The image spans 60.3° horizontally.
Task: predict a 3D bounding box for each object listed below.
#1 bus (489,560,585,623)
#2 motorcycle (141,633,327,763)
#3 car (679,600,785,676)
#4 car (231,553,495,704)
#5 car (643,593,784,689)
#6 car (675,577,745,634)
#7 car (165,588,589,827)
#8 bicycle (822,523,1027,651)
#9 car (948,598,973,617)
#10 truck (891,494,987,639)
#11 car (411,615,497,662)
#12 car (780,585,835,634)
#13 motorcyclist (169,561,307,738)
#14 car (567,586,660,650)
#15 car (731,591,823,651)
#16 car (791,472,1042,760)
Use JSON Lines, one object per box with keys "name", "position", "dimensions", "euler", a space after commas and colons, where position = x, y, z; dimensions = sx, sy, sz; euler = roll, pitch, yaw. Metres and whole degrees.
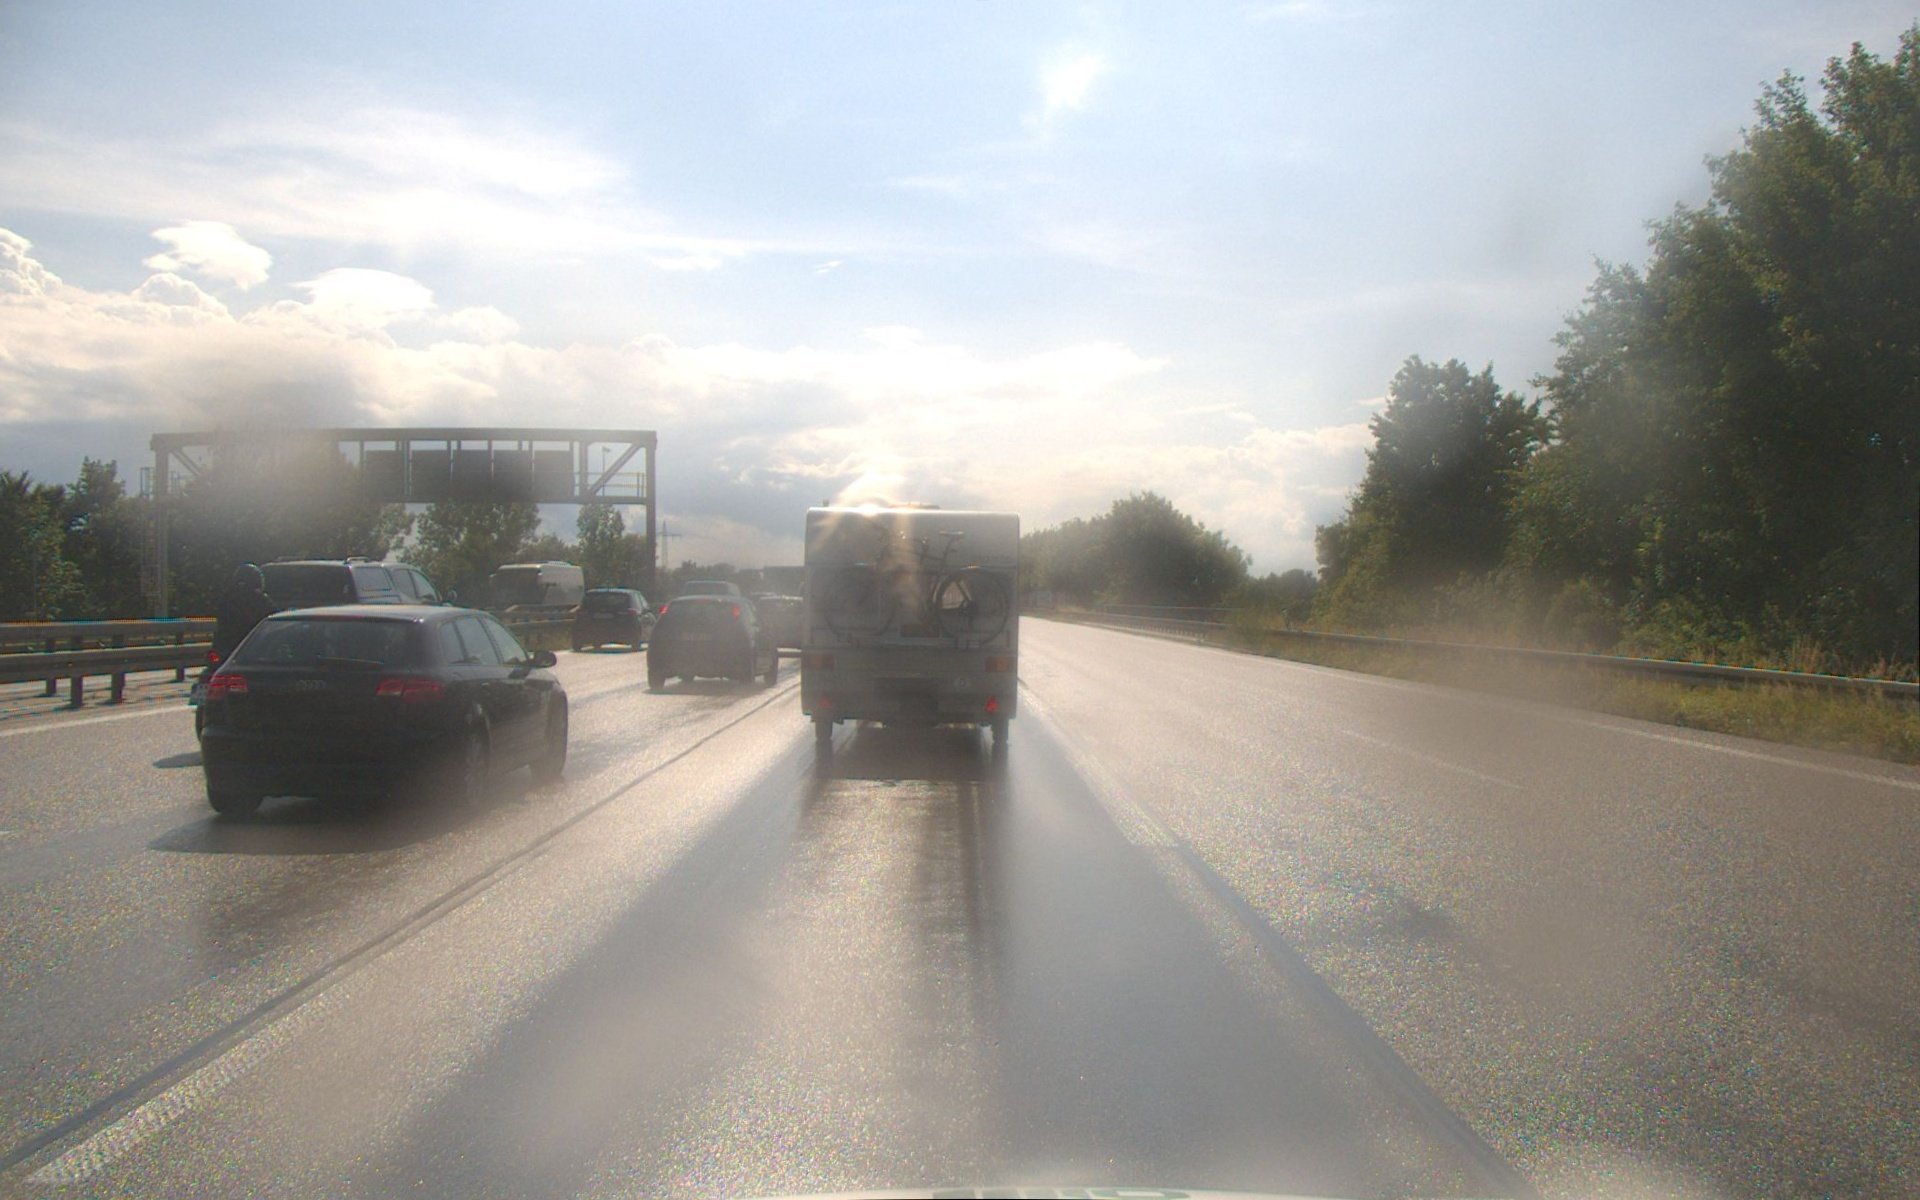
{"name": "bus", "position": [-24.010, -0.482, 94.606], "dimensions": [2.880, 3.343, 12.205], "euler": [1, 0, -3]}
{"name": "motorcycle", "position": [-6.620, 0.854, 15.239], "dimensions": [0.676, 1.045, 2.388], "euler": [1, 0, -1]}
{"name": "car", "position": [-4.849, 0.776, 35.659], "dimensions": [1.825, 1.534, 3.999], "euler": [1, 0, -2]}
{"name": "car", "position": [-8.306, 0.352, 23.609], "dimensions": [1.769, 1.876, 5.418], "euler": [1, 0, 0]}
{"name": "car", "position": [-4.011, 0.623, 27.496], "dimensions": [1.722, 1.468, 4.000], "euler": [1, 0, 0]}
{"name": "car", "position": [-8.943, 0.178, 59.566], "dimensions": [1.810, 1.967, 5.015], "euler": [1, 0, -1]}
{"name": "car", "position": [-4.045, 0.658, 12.219], "dimensions": [1.714, 1.458, 4.053], "euler": [1, 0, -1]}
{"name": "bicycle", "position": [-0.327, -0.121, 15.649], "dimensions": [1.894, 1.161, 0.384], "euler": [1, -1, 1]}
{"name": "car", "position": [0.033, 0.627, 144.121], "dimensions": [1.799, 1.585, 3.996], "euler": [1, 0, -4]}
{"name": "truck", "position": [-0.829, -1.094, 59.362], "dimensions": [3.082, 4.707, 10.732], "euler": [1, 0, -1]}
{"name": "car", "position": [-16.912, 1.255, 55.468], "dimensions": [1.740, 1.467, 3.999], "euler": [1, 0, -2]}
{"name": "car", "position": [-5.387, 0.330, 58.804], "dimensions": [1.654, 1.691, 3.640], "euler": [1, 0, -1]}
{"name": "motorcyclist", "position": [-6.614, 0.436, 15.197], "dimensions": [0.779, 1.564, 1.093], "euler": [1, 0, -1]}
{"name": "car", "position": [-9.195, 0.453, 44.202], "dimensions": [1.747, 1.606, 3.914], "euler": [1, 0, -2]}
{"name": "car", "position": [-4.753, 0.520, 43.443], "dimensions": [1.947, 1.483, 3.826], "euler": [1, 0, 0]}
{"name": "car", "position": [-0.403, 0.160, 17.833], "dimensions": [2.361, 2.721, 4.000], "euler": [1, 0, 0]}
